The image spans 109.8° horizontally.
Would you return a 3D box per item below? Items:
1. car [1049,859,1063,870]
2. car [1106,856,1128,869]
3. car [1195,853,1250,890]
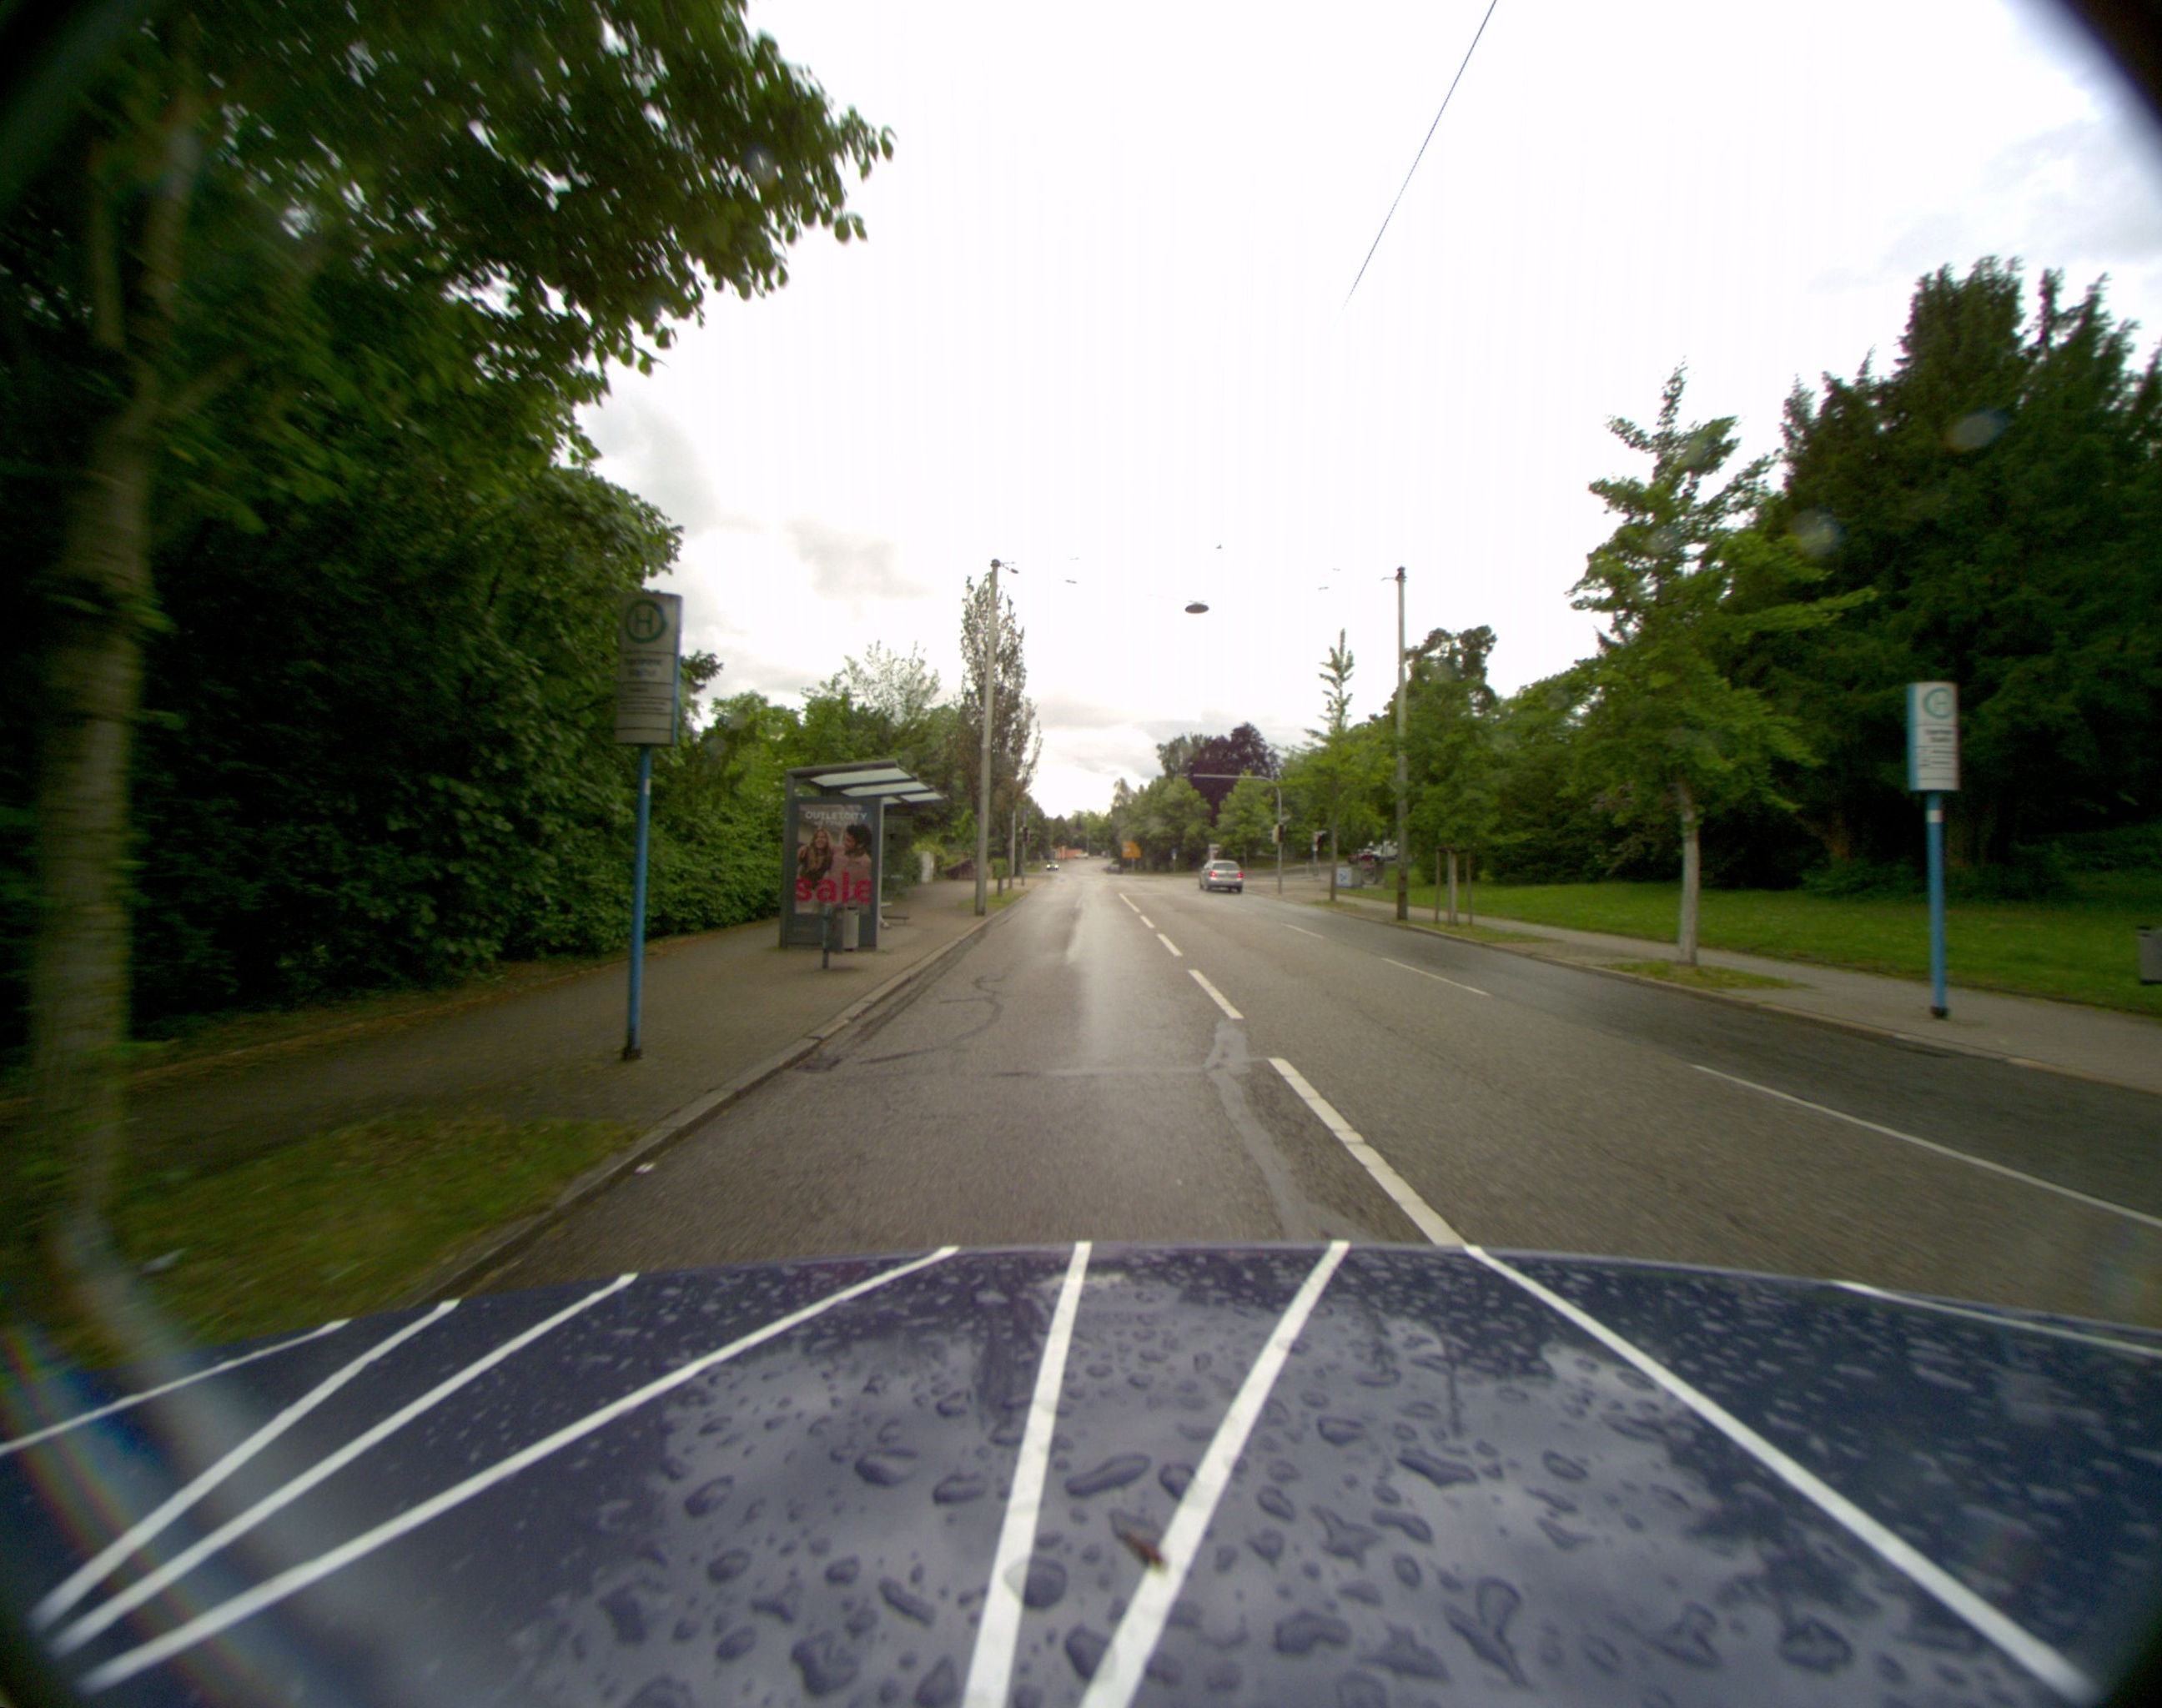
[{"bbox_3d":[-4.311,1.790,129.691,1.998,1.674,4.000,-2,1,3],"label":"car"},{"bbox_3d":[4.647,1.094,99.058,1.878,1.540,3.995,2,2,-10],"label":"car"},{"bbox_3d":[6.682,0.776,36.234,1.876,1.540,4.000,3,0,1],"label":"car"}]
